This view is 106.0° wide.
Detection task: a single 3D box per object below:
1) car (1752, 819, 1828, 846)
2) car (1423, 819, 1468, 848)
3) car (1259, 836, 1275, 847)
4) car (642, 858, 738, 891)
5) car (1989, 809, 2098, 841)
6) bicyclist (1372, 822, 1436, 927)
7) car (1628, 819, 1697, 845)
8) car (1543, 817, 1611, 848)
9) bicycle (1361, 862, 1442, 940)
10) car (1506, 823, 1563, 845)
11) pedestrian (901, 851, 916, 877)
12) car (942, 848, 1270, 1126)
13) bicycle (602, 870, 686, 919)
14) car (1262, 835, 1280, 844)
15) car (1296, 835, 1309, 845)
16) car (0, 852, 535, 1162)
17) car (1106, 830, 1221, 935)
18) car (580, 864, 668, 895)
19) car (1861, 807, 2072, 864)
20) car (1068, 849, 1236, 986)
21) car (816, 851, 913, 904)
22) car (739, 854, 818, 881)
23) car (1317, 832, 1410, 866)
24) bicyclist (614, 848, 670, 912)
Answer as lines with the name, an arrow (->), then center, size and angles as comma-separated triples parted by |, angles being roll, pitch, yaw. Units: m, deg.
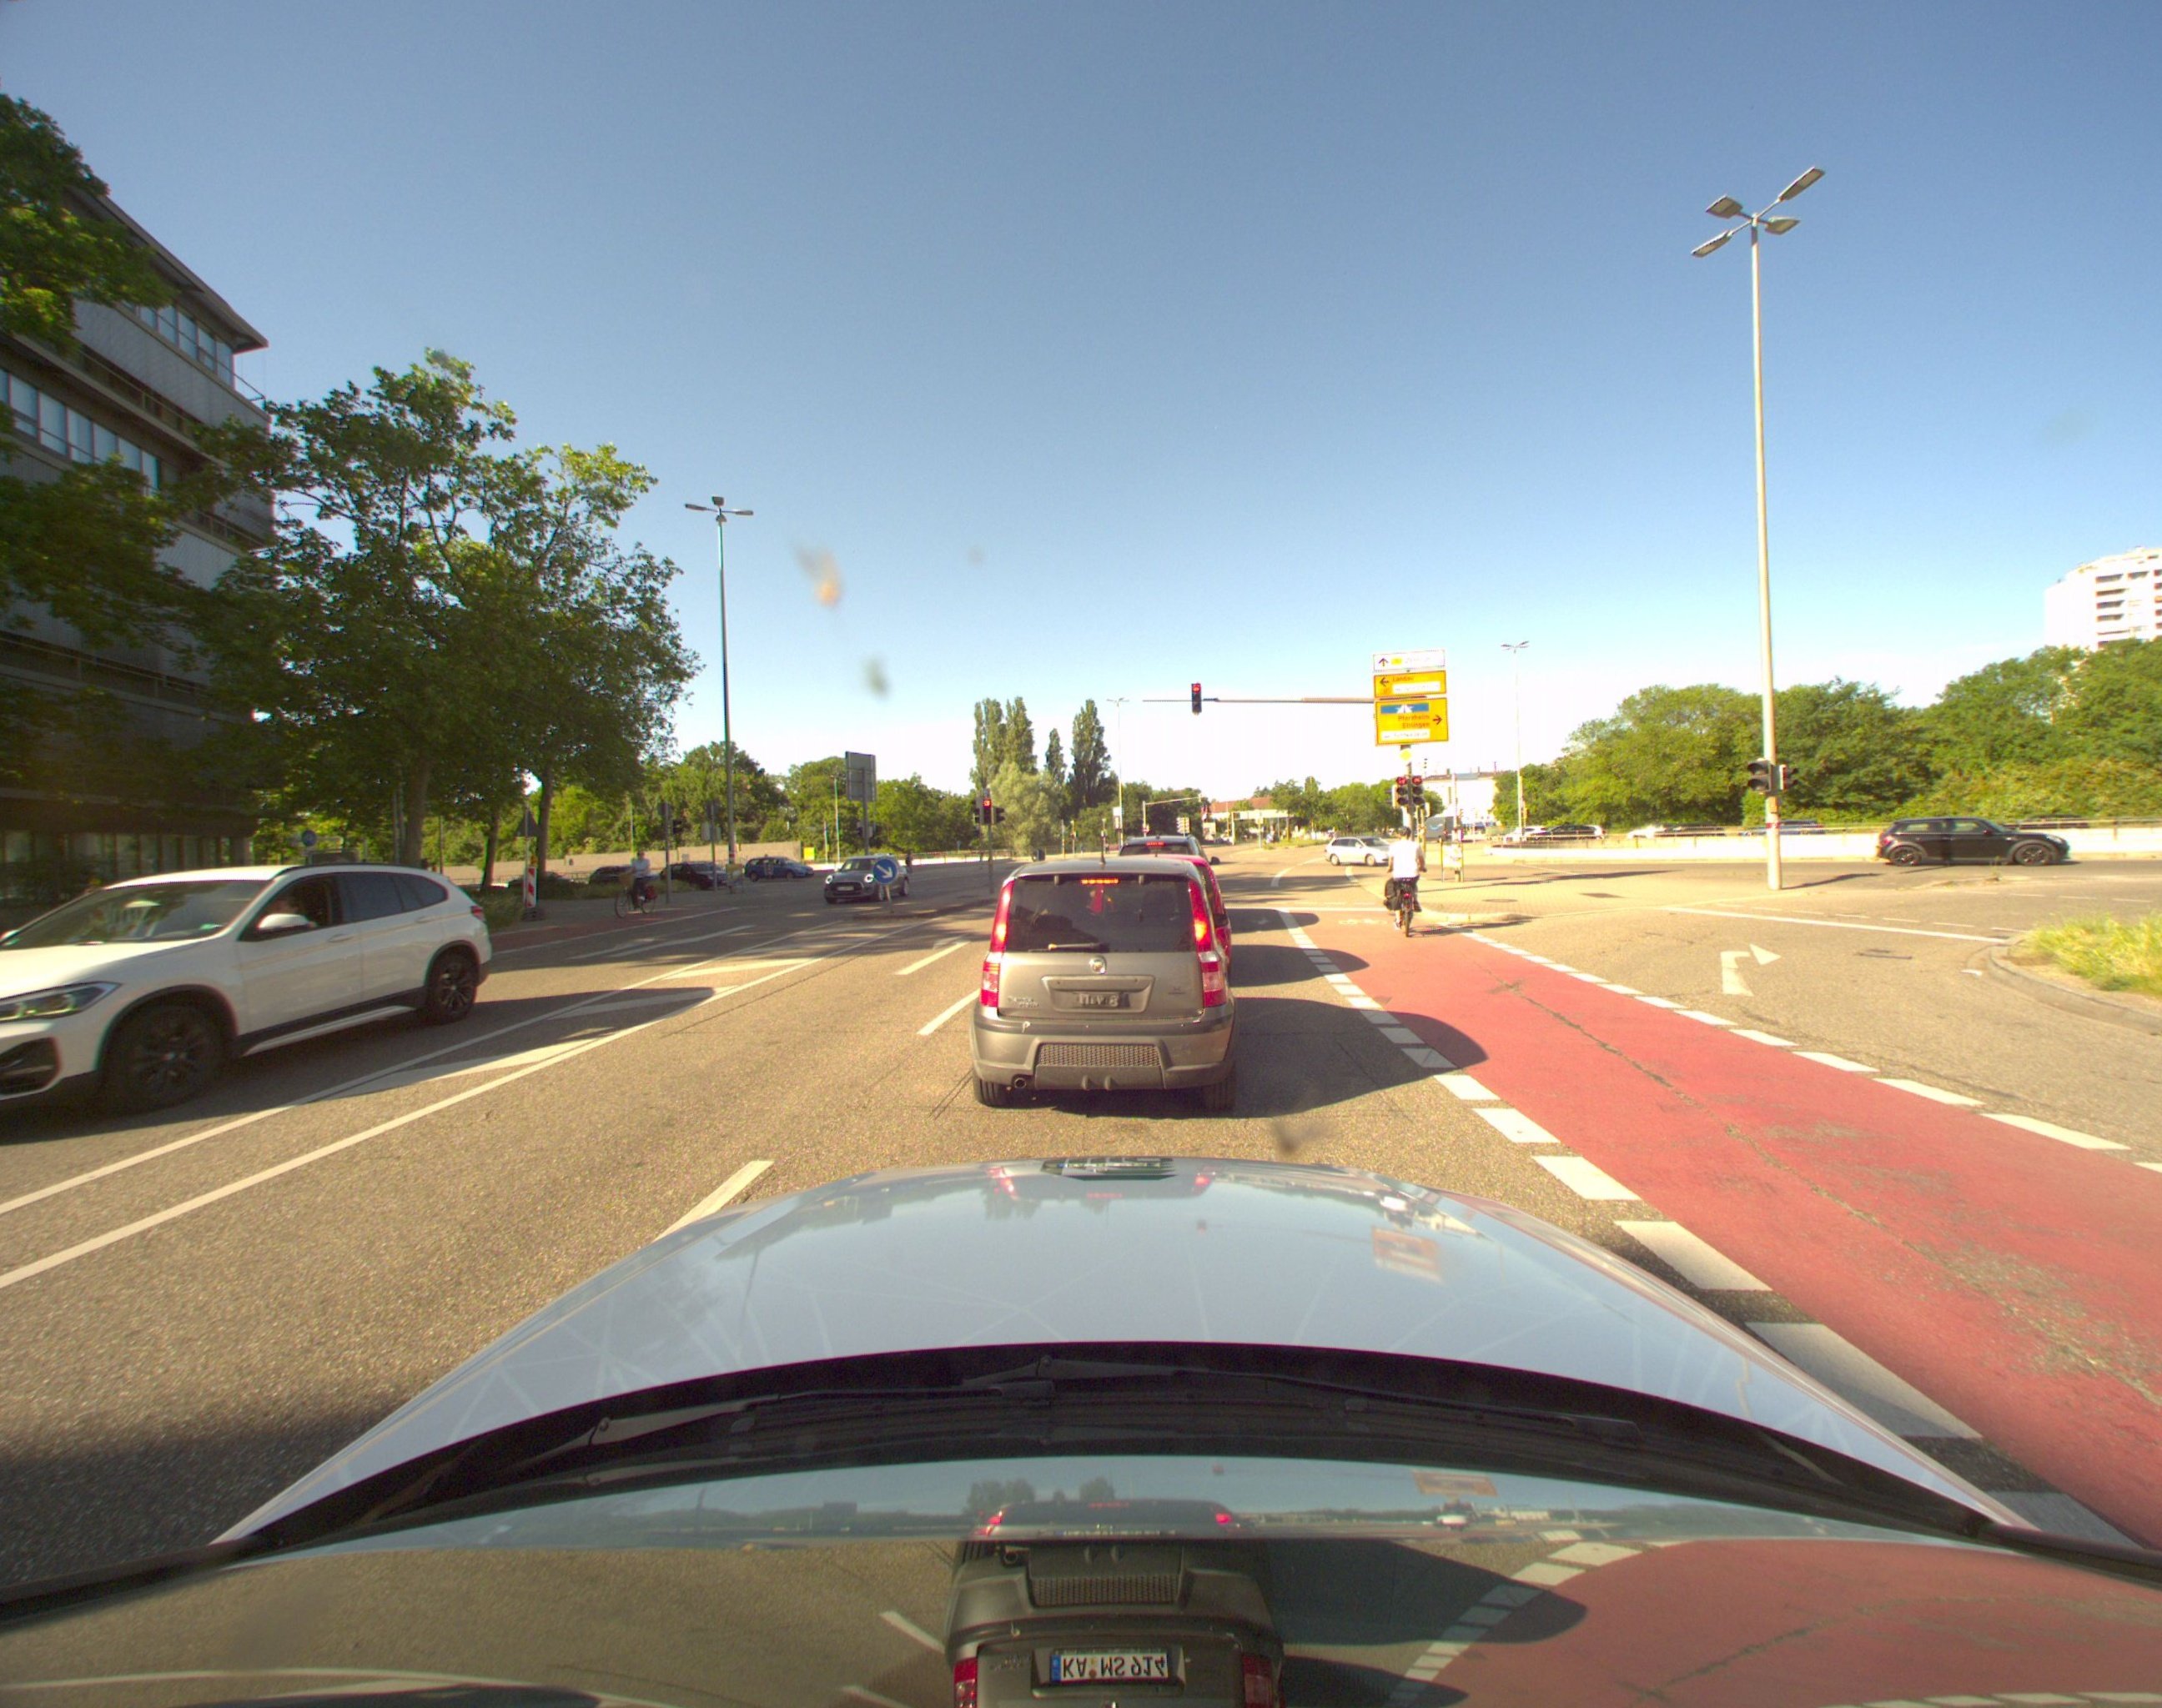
car -> 49.790, -1.488, 57.238 | 3.949, 1.684, 1.868 | -3, -2, 42
car -> 36.936, -2.030, 82.693 | 2.248, 2.607, 4.882 | -1, -2, -2
car -> 35.629, -2.355, 155.914 | 1.994, 1.855, 4.456 | -2, -2, 25
car -> -19.632, 1.043, 40.888 | 4.396, 1.438, 1.836 | -2, 1, 24
car -> 59.076, -1.739, 50.088 | 3.948, 1.662, 2.013 | -2, -2, 38
bicyclist -> 5.544, 0.316, 13.941 | 0.791, 1.704, 1.092 | 0, 2, 34
car -> 44.630, -1.686, 62.559 | 2.011, 1.750, 3.951 | 1, -2, -43
car -> 36.401, -1.552, 59.762 | 3.948, 2.014, 2.012 | -3, -2, 40
bicycle -> 5.504, 0.741, 13.881 | 0.791, 1.110, 2.417 | 0, 2, 34
car -> 39.337, -1.713, 70.750 | 2.001, 1.750, 3.970 | 0, -2, -22
pedestrian -> -11.159, 0.646, 52.609 | 0.684, 1.539, 1.365 | -1, -5, 0
car -> 0.320, 0.709, 6.499 | 1.811, 1.489, 4.006 | 0, 1, 5
bicycle -> -12.233, 1.112, 22.899 | 0.682, 1.202, 2.334 | -2, 1, 11
car -> 35.667, -2.663, 152.533 | 1.994, 1.545, 4.917 | -2, 1, 28
car -> 46.352, -2.984, 170.211 | 1.995, 1.855, 4.912 | -2, -2, 22
car -> -6.952, 0.879, 6.727 | 1.829, 1.653, 4.624 | -3, 1, -3
car -> 1.780, 0.446, 16.208 | 1.857, 1.790, 4.428 | 0, 1, 11
car -> -24.949, 1.393, 44.446 | 4.396, 1.438, 1.836 | -2, 1, 24
car -> 25.972, -0.519, 24.119 | 3.948, 1.453, 2.013 | -2, 1, 40
car -> 0.934, 0.685, 10.844 | 1.811, 1.479, 4.005 | 0, 0, 5
car -> -6.853, 0.691, 26.215 | 1.678, 1.456, 3.920 | -2, 1, 5
car -> -18.855, 0.832, 50.810 | 4.400, 1.438, 1.835 | -2, 0, 18
car -> 13.497, -0.279, 39.132 | 1.759, 1.493, 4.315 | -2, 2, -24
bicyclist -> -12.271, 0.699, 22.796 | 0.682, 1.701, 1.202 | -2, 0, 11
